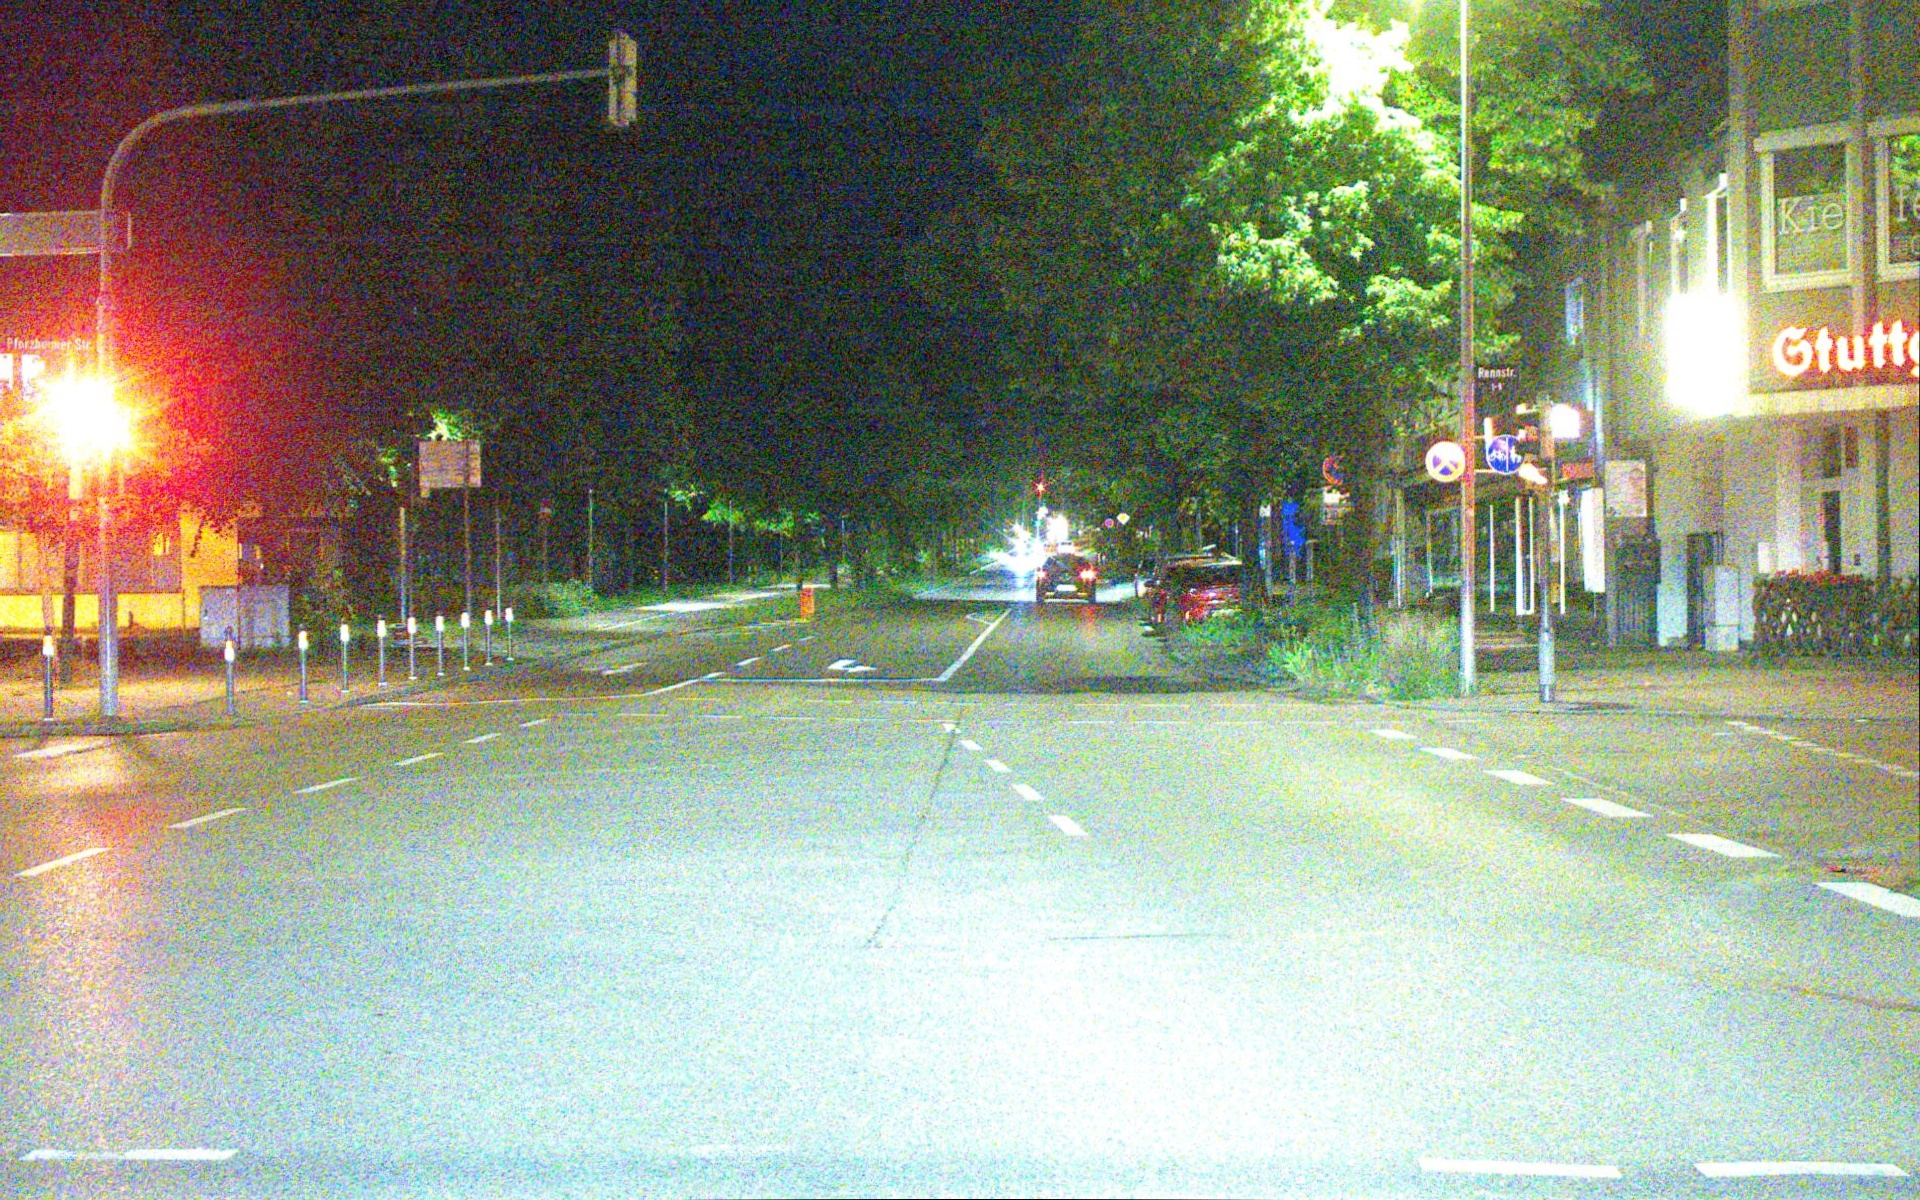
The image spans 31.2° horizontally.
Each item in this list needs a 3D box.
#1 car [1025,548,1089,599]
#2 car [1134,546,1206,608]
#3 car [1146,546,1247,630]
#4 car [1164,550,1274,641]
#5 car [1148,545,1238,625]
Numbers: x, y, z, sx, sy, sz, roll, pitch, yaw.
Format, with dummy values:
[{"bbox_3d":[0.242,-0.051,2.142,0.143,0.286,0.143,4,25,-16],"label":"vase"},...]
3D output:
[{"bbox_3d":[2.896,-0.796,102.943,1.873,1.449,4.316,1,1,1],"label":"car"},{"bbox_3d":[5.744,-0.641,94.484,1.876,1.678,4.000,0,1,2],"label":"car"},{"bbox_3d":[4.703,-0.259,68.791,1.876,1.610,4.000,0,1,2],"label":"car"},{"bbox_3d":[4.759,-0.105,63.584,1.876,1.610,4.000,0,1,2],"label":"car"},{"bbox_3d":[5.161,-0.339,76.461,1.876,1.723,4.000,0,1,2],"label":"car"}]
